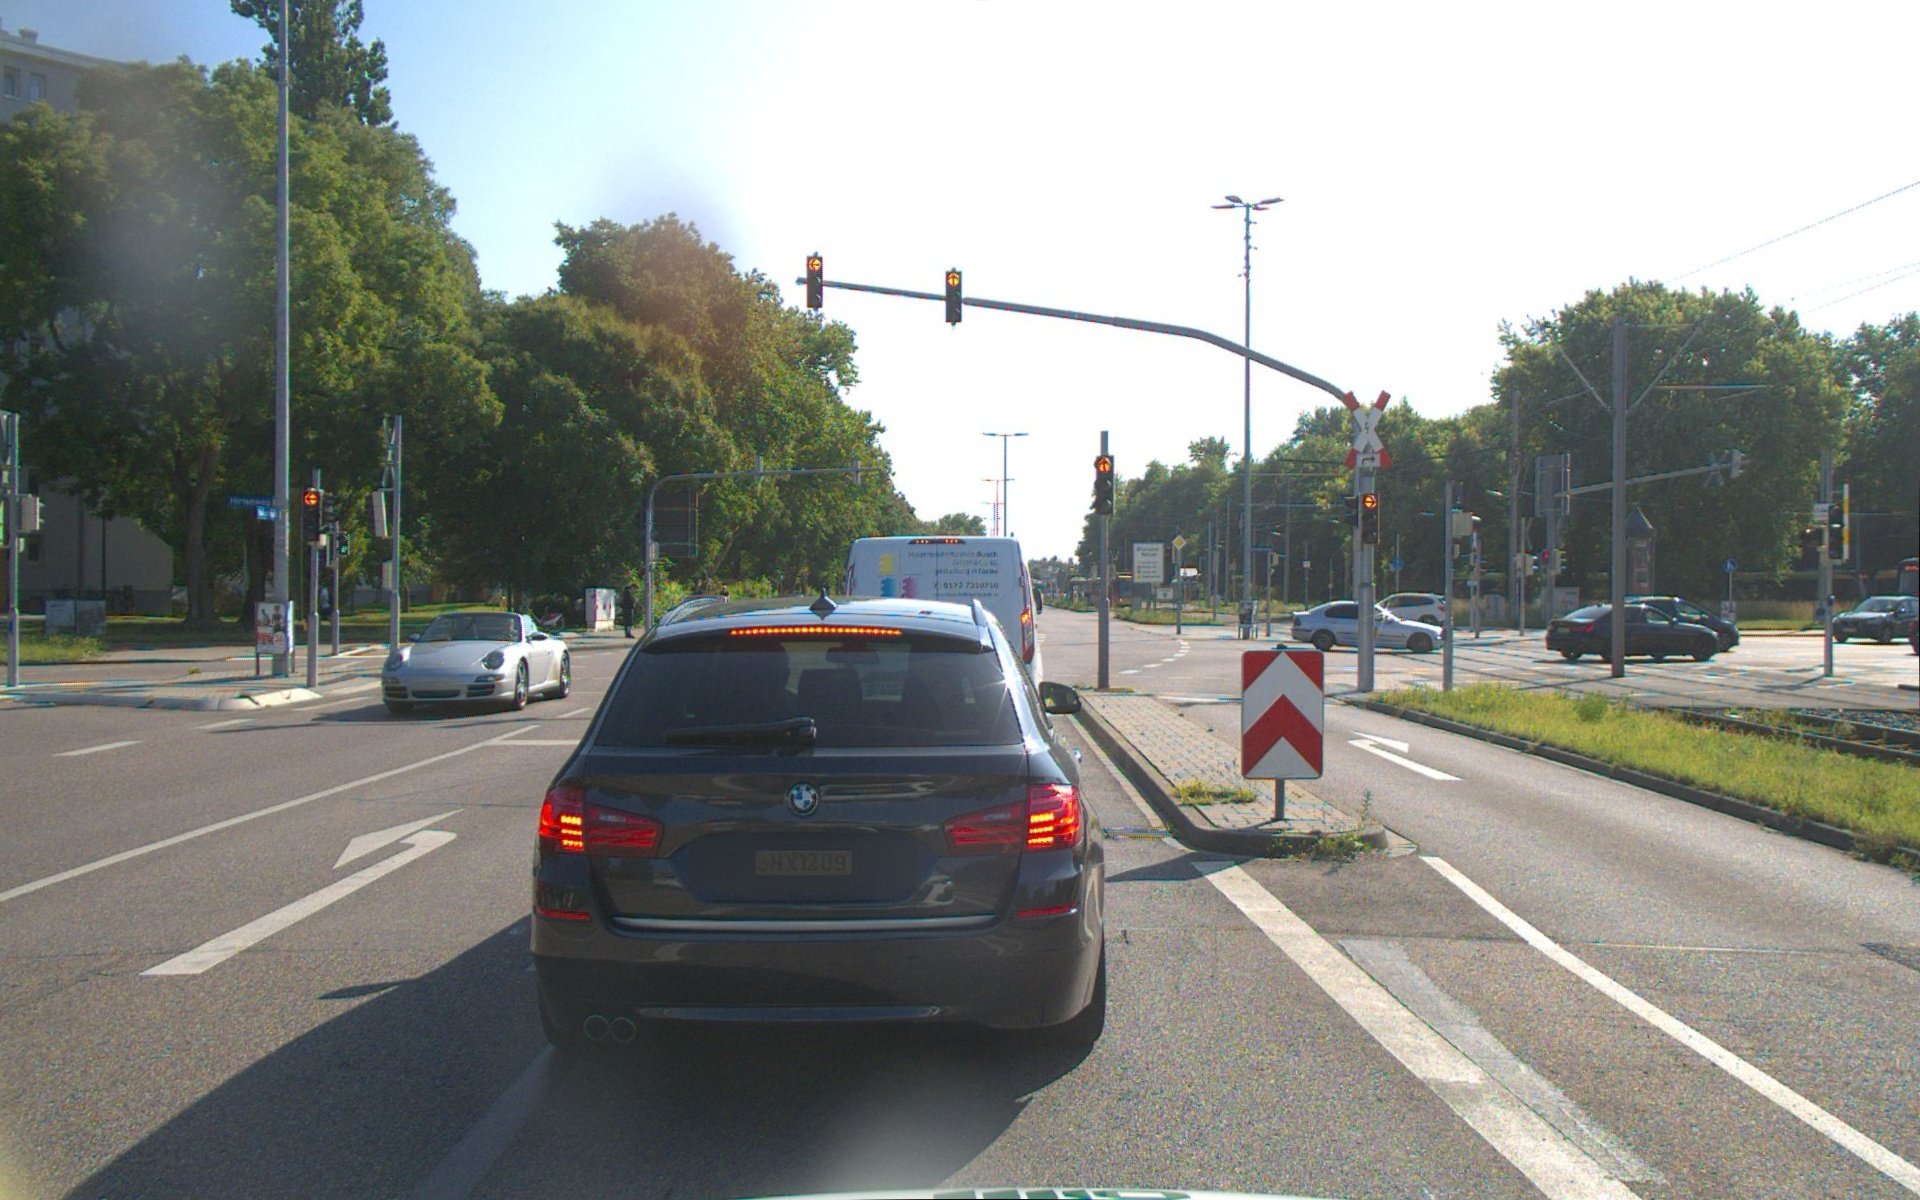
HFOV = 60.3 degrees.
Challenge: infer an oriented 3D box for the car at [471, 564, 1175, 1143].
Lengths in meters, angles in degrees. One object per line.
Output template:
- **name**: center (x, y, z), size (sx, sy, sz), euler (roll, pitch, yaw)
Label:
- **car**: center (-0.383, 0.662, 6.430), size (1.864, 1.532, 4.064), euler (0, 0, -1)

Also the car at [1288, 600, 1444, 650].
- **car**: center (11.732, 0.710, 47.908), size (4.301, 1.377, 2.002), euler (0, 0, 14)

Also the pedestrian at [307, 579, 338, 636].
- **pedestrian**: center (-19.818, 0.233, 51.407), size (0.610, 1.743, 0.705), euler (0, 0, 11)

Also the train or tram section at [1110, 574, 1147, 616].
- **train or tram section**: center (15.629, -0.411, 153.965), size (2.738, 3.681, 12.960), euler (1, 0, 3)

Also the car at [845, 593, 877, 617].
- **car**: center (-6.573, 0.359, 109.817), size (1.667, 1.491, 4.370), euler (-1, -2, 2)

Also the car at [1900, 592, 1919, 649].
- **car**: center (30.675, 0.599, 50.473), size (4.588, 1.694, 1.972), euler (0, 0, -39)

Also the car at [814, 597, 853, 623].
- **car**: center (-7.083, 0.553, 92.821), size (1.742, 1.439, 4.246), euler (0, 0, 2)

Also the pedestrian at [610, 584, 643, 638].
- **pedestrian**: center (-10.960, 0.354, 54.386), size (0.798, 1.782, 0.932), euler (0, 0, 5)

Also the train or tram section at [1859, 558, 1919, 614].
- **train or tram section**: center (63.739, -0.934, 108.485), size (2.981, 3.642, 12.231), euler (0, 0, 0)

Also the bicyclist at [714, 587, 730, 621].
- **bicyclist**: center (-11.134, 0.191, 77.246), size (0.598, 1.587, 0.599), euler (1, 0, -21)

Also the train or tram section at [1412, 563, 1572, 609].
- **train or tram section**: center (43.517, -1.140, 135.485), size (12.170, 3.642, 3.048), euler (0, 0, 31)

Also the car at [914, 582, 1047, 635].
- **car**: center (0.647, 0.297, 55.872), size (4.539, 1.753, 1.639), euler (-1, -1, 42)

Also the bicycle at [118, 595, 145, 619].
- **bicycle**: center (-33.476, 0.264, 66.810), size (0.663, 0.936, 2.377), euler (0, 1, -35)

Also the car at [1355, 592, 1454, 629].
- **car**: center (18.629, 0.425, 69.233), size (3.808, 1.512, 1.799), euler (0, 0, 23)

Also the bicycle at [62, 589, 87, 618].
- **bicycle**: center (-35.040, 0.147, 65.447), size (0.606, 1.085, 1.892), euler (1, -2, -37)

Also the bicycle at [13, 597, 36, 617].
- **bicycle**: center (-36.607, 0.263, 64.692), size (0.578, 0.721, 2.211), euler (0, 1, -35)

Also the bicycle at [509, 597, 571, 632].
- **bicycle**: center (-13.813, 0.486, 54.435), size (1.870, 1.138, 0.632), euler (0, 0, -1)

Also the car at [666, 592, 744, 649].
- **car**: center (-7.086, 0.543, 46.237), size (1.660, 1.524, 3.675), euler (-1, 0, -2)

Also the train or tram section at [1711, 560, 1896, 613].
- **train or tram section**: center (60.922, -0.959, 119.885), size (3.017, 3.642, 12.087), euler (0, 0, -34)

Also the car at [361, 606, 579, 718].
- **car**: center (-6.509, 0.771, 22.445), size (1.743, 1.333, 4.286), euler (0, 0, -1)

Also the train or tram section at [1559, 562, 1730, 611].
- **train or tram section**: center (53.279, -1.046, 128.975), size (11.984, 3.642, 3.043), euler (0, 0, 36)

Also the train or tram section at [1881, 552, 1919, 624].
- **train or tram section**: center (53.213, -0.615, 87.810), size (11.721, 3.642, 3.015), euler (0, 0, -37)

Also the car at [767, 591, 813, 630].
- **car**: center (-7.390, 0.437, 71.977), size (1.600, 1.587, 3.676), euler (-2, 0, 0)

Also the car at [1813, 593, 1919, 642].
- **car**: center (32.650, 0.599, 58.568), size (4.792, 1.590, 2.025), euler (-1, 1, -29)

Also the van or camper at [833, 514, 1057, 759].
- **van or camper**: center (-0.101, 0.306, 16.756), size (1.952, 2.133, 4.599), euler (0, 0, 1)

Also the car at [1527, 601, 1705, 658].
- **car**: center (17.005, 0.734, 42.844), size (4.342, 1.378, 1.982), euler (0, 0, -28)
